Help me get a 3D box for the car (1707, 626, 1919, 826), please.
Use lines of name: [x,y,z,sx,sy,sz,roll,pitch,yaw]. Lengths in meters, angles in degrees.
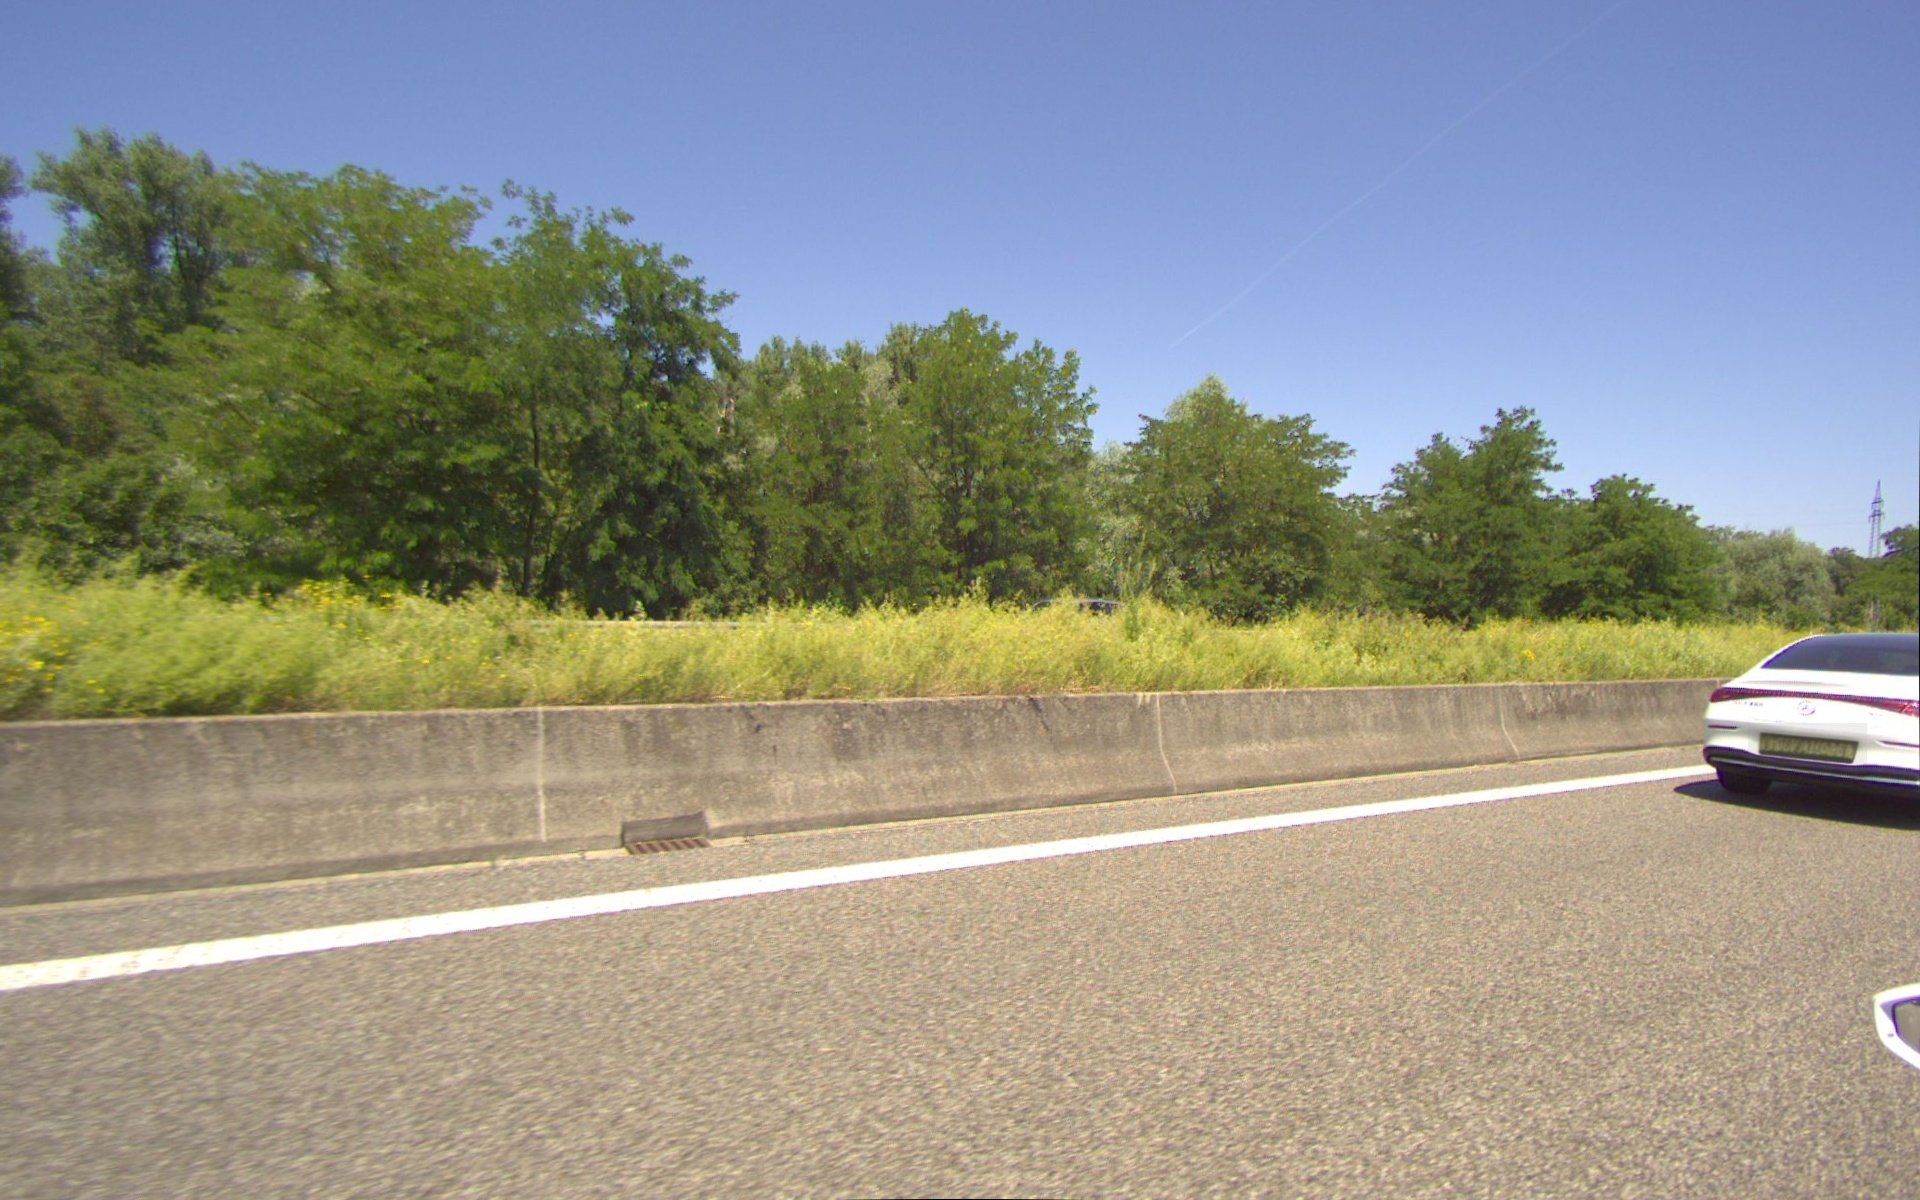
car: [9.204,1.037,9.387,5.049,1.467,1.758,2,0,-31]
